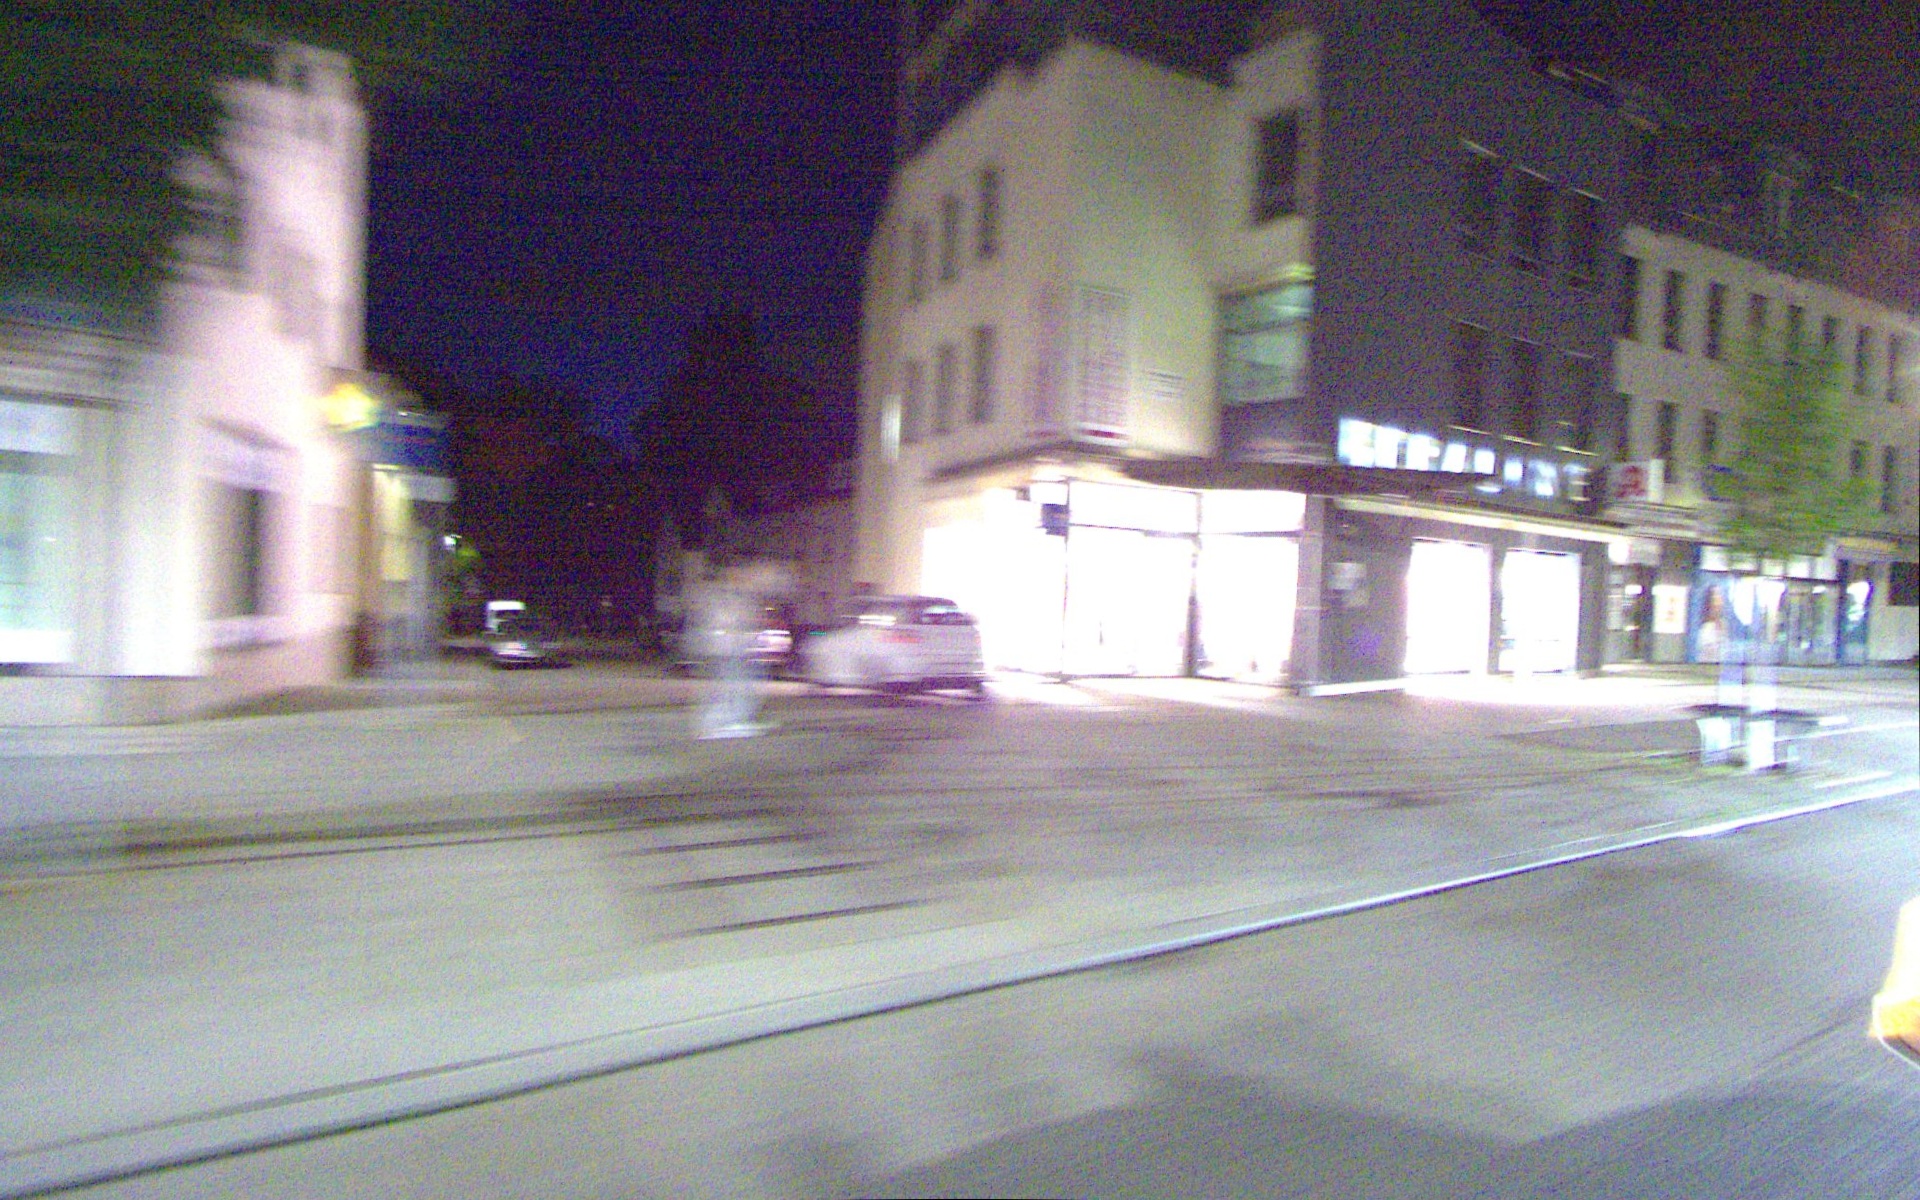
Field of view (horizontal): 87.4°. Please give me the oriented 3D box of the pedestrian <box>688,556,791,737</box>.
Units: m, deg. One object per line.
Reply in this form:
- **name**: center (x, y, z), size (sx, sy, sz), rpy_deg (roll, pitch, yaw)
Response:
- **pedestrian**: center (-2.160, 0.424, 9.816), size (0.807, 1.678, 0.766), rpy_deg (-1, 1, -29)

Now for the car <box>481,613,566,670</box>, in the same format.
- **car**: center (-13.229, 1.248, 30.294), size (1.874, 1.539, 4.148), rpy_deg (3, -3, -29)

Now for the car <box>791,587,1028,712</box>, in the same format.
- **car**: center (-0.876, 0.672, 14.011), size (1.817, 1.457, 4.154), rpy_deg (2, -3, -26)

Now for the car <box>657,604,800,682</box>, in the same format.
- **car**: center (-5.520, 1.011, 23.587), size (1.970, 1.643, 4.144), rpy_deg (3, -3, -32)

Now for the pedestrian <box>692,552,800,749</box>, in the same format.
- **pedestrian**: center (-1.941, 0.423, 9.062), size (0.772, 1.678, 0.766), rpy_deg (-1, 1, -29)

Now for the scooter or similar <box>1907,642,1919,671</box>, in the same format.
- **scooter or similar**: center (27.142, 1.581, 27.905), size (0.519, 0.792, 1.089), rpy_deg (1, 0, -32)
